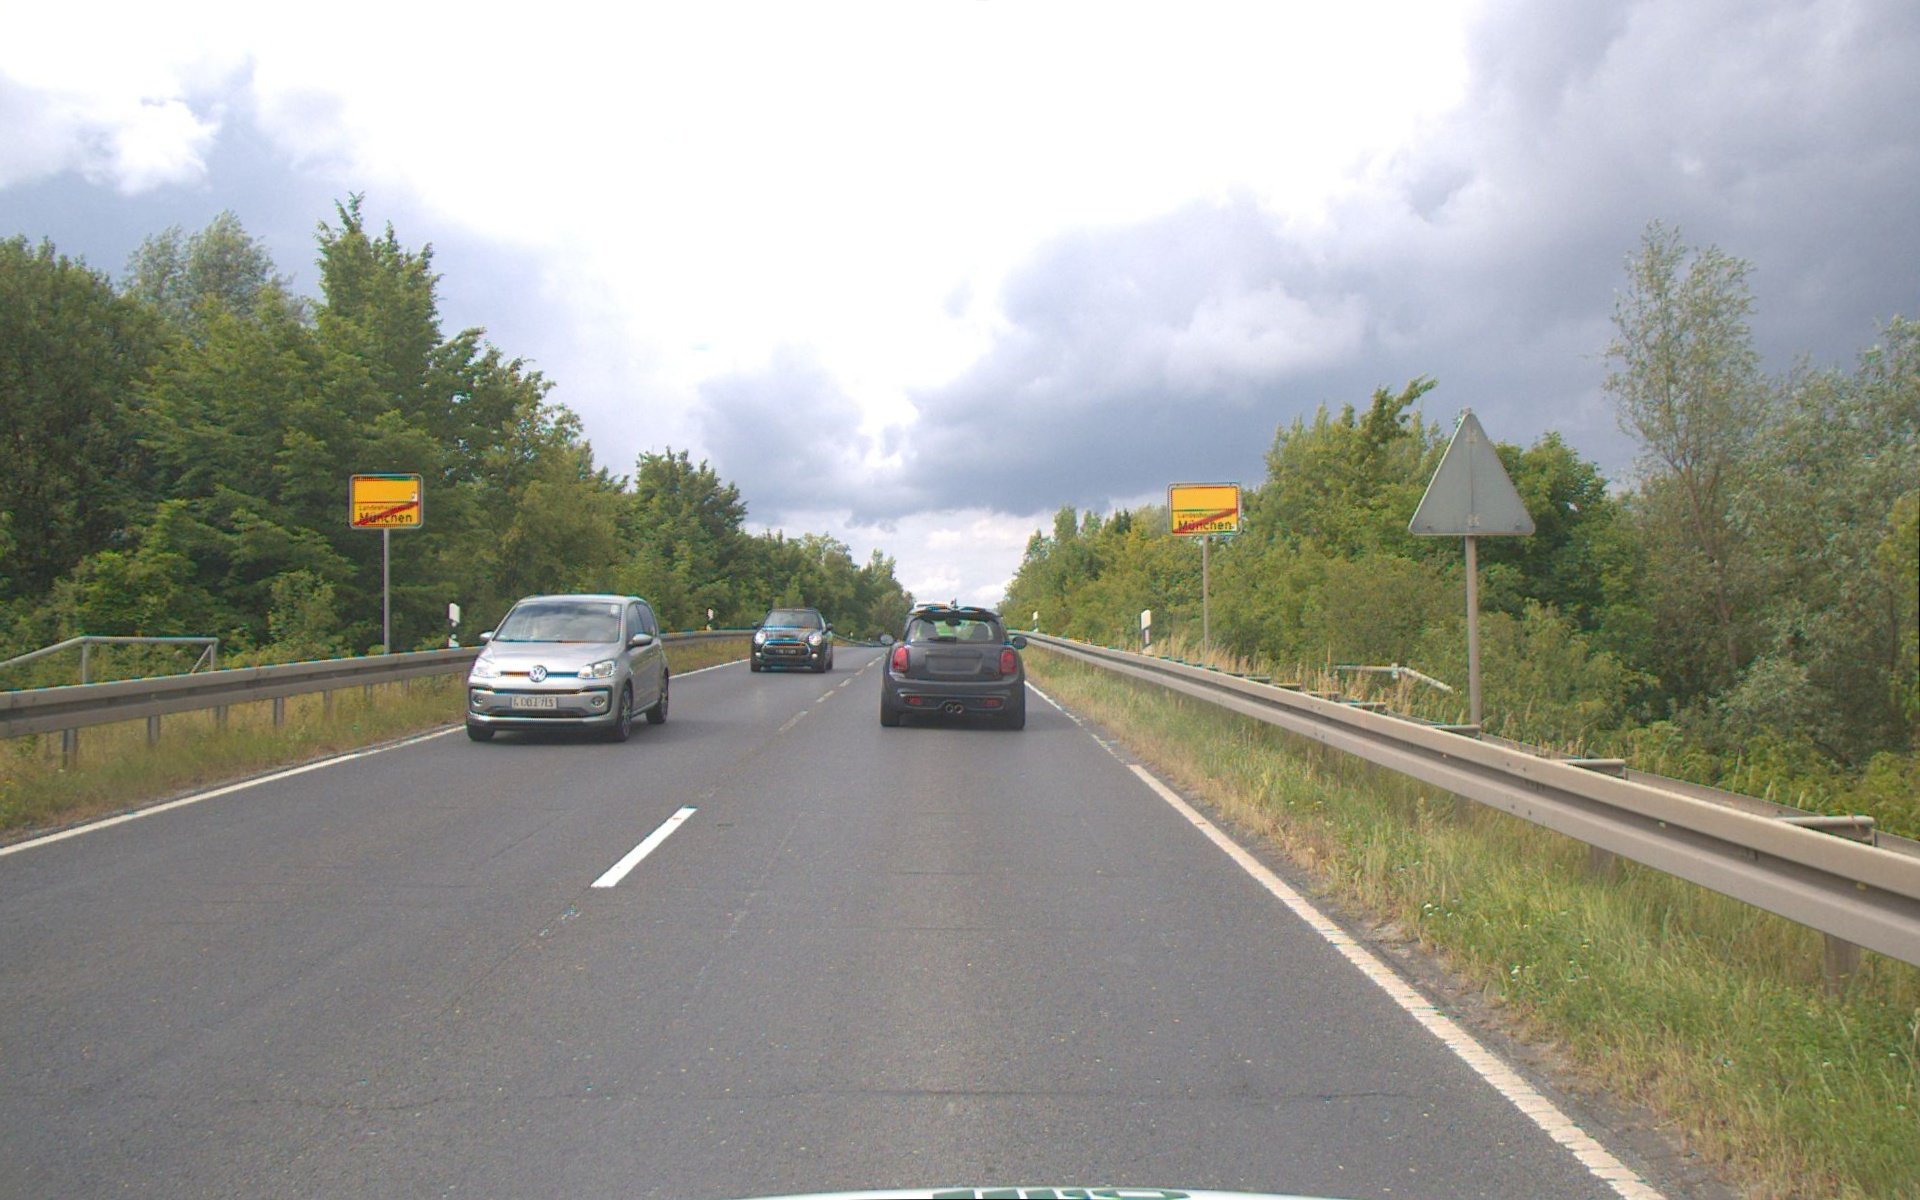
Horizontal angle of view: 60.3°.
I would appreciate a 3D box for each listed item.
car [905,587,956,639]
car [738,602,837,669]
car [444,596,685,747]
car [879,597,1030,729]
[{"bbox_3d":[-1.164,0.536,67.104,1.981,2.049,4.000,0,-1,0],"label":"car"},{"bbox_3d":[-3.915,0.790,38.107,1.797,1.445,4.000,1,0,0],"label":"car"},{"bbox_3d":[-4.215,0.715,18.256,1.798,1.470,3.998,0,0,-2],"label":"car"},{"bbox_3d":[-0.036,0.733,20.897,1.696,1.481,4.000,1,0,1],"label":"car"}]
